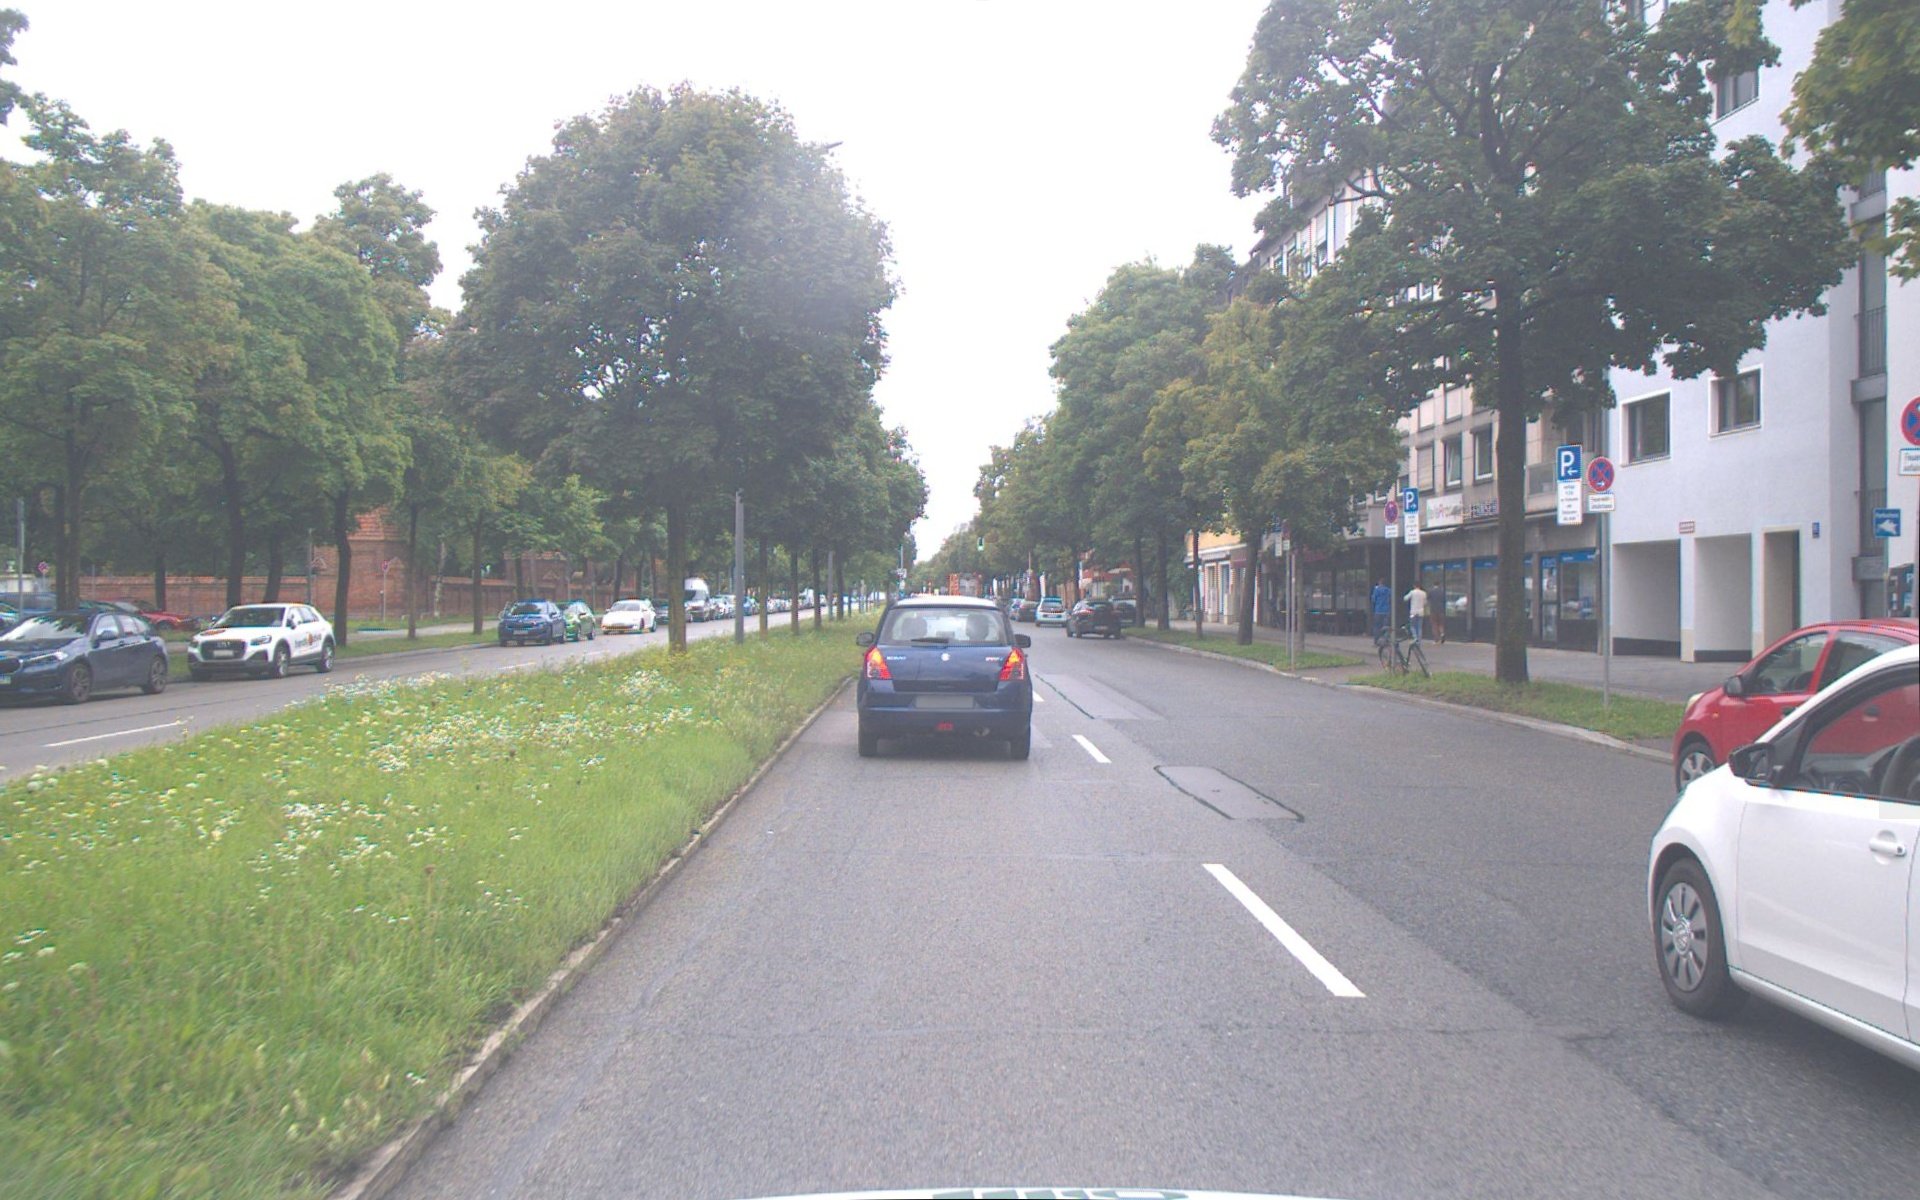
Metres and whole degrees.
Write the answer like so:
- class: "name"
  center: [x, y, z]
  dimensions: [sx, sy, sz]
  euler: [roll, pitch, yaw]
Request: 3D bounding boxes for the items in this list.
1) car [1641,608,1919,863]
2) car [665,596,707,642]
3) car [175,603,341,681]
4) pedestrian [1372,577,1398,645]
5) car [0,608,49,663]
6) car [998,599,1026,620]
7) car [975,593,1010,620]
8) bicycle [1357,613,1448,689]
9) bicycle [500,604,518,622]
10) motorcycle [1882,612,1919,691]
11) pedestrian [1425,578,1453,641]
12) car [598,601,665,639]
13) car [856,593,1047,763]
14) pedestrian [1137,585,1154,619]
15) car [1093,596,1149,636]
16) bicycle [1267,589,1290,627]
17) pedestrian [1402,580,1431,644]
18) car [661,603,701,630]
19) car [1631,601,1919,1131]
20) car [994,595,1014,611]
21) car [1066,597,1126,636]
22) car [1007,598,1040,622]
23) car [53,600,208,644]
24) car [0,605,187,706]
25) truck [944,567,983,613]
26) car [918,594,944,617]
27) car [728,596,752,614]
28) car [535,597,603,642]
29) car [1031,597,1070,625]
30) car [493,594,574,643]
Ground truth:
- class: "car"
  center: [6.242, 0.802, 10.961]
  dimensions: [1.492, 1.466, 3.995]
  euler: [0, 0, -6]
- class: "car"
  center: [-18.336, 1.230, 110.983]
  dimensions: [2.142, 3.005, 6.187]
  euler: [1, 0, -4]
- class: "car"
  center: [-14.539, 0.854, 34.489]
  dimensions: [1.820, 1.517, 4.140]
  euler: [0, -1, -2]
- class: "pedestrian"
  center: [11.220, 0.291, 43.653]
  dimensions: [0.489, 1.763, 0.732]
  euler: [0, 0, -1]
- class: "car"
  center: [-28.705, 1.028, 47.703]
  dimensions: [3.902, 1.531, 2.002]
  euler: [0, 0, 12]
- class: "car"
  center: [3.635, 0.651, 115.996]
  dimensions: [1.621, 1.477, 3.997]
  euler: [0, 0, -3]
- class: "car"
  center: [1.875, 0.369, 97.021]
  dimensions: [1.785, 1.503, 4.689]
  euler: [2, 0, -1]
- class: "bicycle"
  center: [7.801, 0.873, 29.245]
  dimensions: [0.447, 1.278, 2.138]
  euler: [0, 0, -19]
- class: "bicycle"
  center: [-24.595, 0.684, 90.163]
  dimensions: [0.642, 0.953, 1.618]
  euler: [0, 0, -4]
- class: "motorcycle"
  center: [13.976, 0.739, 23.264]
  dimensions: [0.745, 1.105, 2.199]
  euler: [-1, 0, -1]
- class: "pedestrian"
  center: [12.745, 0.256, 44.017]
  dimensions: [0.530, 1.669, 0.724]
  euler: [0, 0, -1]
- class: "car"
  center: [-14.997, 0.898, 75.749]
  dimensions: [1.724, 1.564, 4.318]
  euler: [-3, 0, 6]
- class: "car"
  center: [-0.089, 0.693, 16.897]
  dimensions: [1.717, 1.531, 4.000]
  euler: [0, 0, 0]
- class: "pedestrian"
  center: [10.422, 0.091, 92.804]
  dimensions: [0.776, 1.888, 0.776]
  euler: [-2, 0, -4]
- class: "car"
  center: [7.001, 0.668, 72.139]
  dimensions: [1.953, 1.671, 4.332]
  euler: [0, 0, -1]
- class: "bicycle"
  center: [12.624, 0.310, 65.566]
  dimensions: [0.568, 1.489, 1.688]
  euler: [0, 0, -1]
- class: "pedestrian"
  center: [12.070, 0.321, 43.701]
  dimensions: [0.537, 1.658, 0.641]
  euler: [-2, 0, -1]
- class: "car"
  center: [-16.632, 0.958, 98.716]
  dimensions: [1.777, 1.563, 4.439]
  euler: [1, 0, -2]
- class: "car"
  center: [3.583, 0.769, 4.988]
  dimensions: [1.652, 1.516, 3.434]
  euler: [0, 0, -2]
- class: "car"
  center: [4.566, 0.312, 171.769]
  dimensions: [1.953, 1.557, 3.999]
  euler: [0, 0, -1]
- class: "car"
  center: [5.267, 0.609, 64.470]
  dimensions: [1.953, 1.477, 3.999]
  euler: [0, 0, -1]
- class: "car"
  center: [4.038, 0.625, 105.744]
  dimensions: [1.621, 1.477, 4.705]
  euler: [0, 0, -3]
- class: "car"
  center: [-28.121, 0.730, 56.164]
  dimensions: [4.324, 1.416, 1.759]
  euler: [0, 0, -1]
- class: "car"
  center: [-14.396, 0.863, 26.854]
  dimensions: [1.820, 1.517, 4.250]
  euler: [0, -1, -2]
- class: "truck"
  center: [0.220, -0.803, 135.255]
  dimensions: [2.979, 3.619, 13.673]
  euler: [0, 0, 0]
- class: "car"
  center: [-1.945, 0.368, 110.618]
  dimensions: [1.684, 1.527, 4.299]
  euler: [0, 0, -1]
- class: "car"
  center: [-18.963, 0.440, 142.713]
  dimensions: [1.672, 1.561, 3.999]
  euler: [0, 0, -1]
- class: "car"
  center: [-14.937, 0.705, 63.321]
  dimensions: [1.605, 1.564, 4.313]
  euler: [-3, 0, -1]
- class: "car"
  center: [4.860, 0.568, 89.109]
  dimensions: [1.621, 1.477, 3.997]
  euler: [0, 0, -3]
- class: "car"
  center: [-14.779, 0.615, 57.536]
  dimensions: [1.849, 1.564, 4.312]
  euler: [-3, 0, -3]
